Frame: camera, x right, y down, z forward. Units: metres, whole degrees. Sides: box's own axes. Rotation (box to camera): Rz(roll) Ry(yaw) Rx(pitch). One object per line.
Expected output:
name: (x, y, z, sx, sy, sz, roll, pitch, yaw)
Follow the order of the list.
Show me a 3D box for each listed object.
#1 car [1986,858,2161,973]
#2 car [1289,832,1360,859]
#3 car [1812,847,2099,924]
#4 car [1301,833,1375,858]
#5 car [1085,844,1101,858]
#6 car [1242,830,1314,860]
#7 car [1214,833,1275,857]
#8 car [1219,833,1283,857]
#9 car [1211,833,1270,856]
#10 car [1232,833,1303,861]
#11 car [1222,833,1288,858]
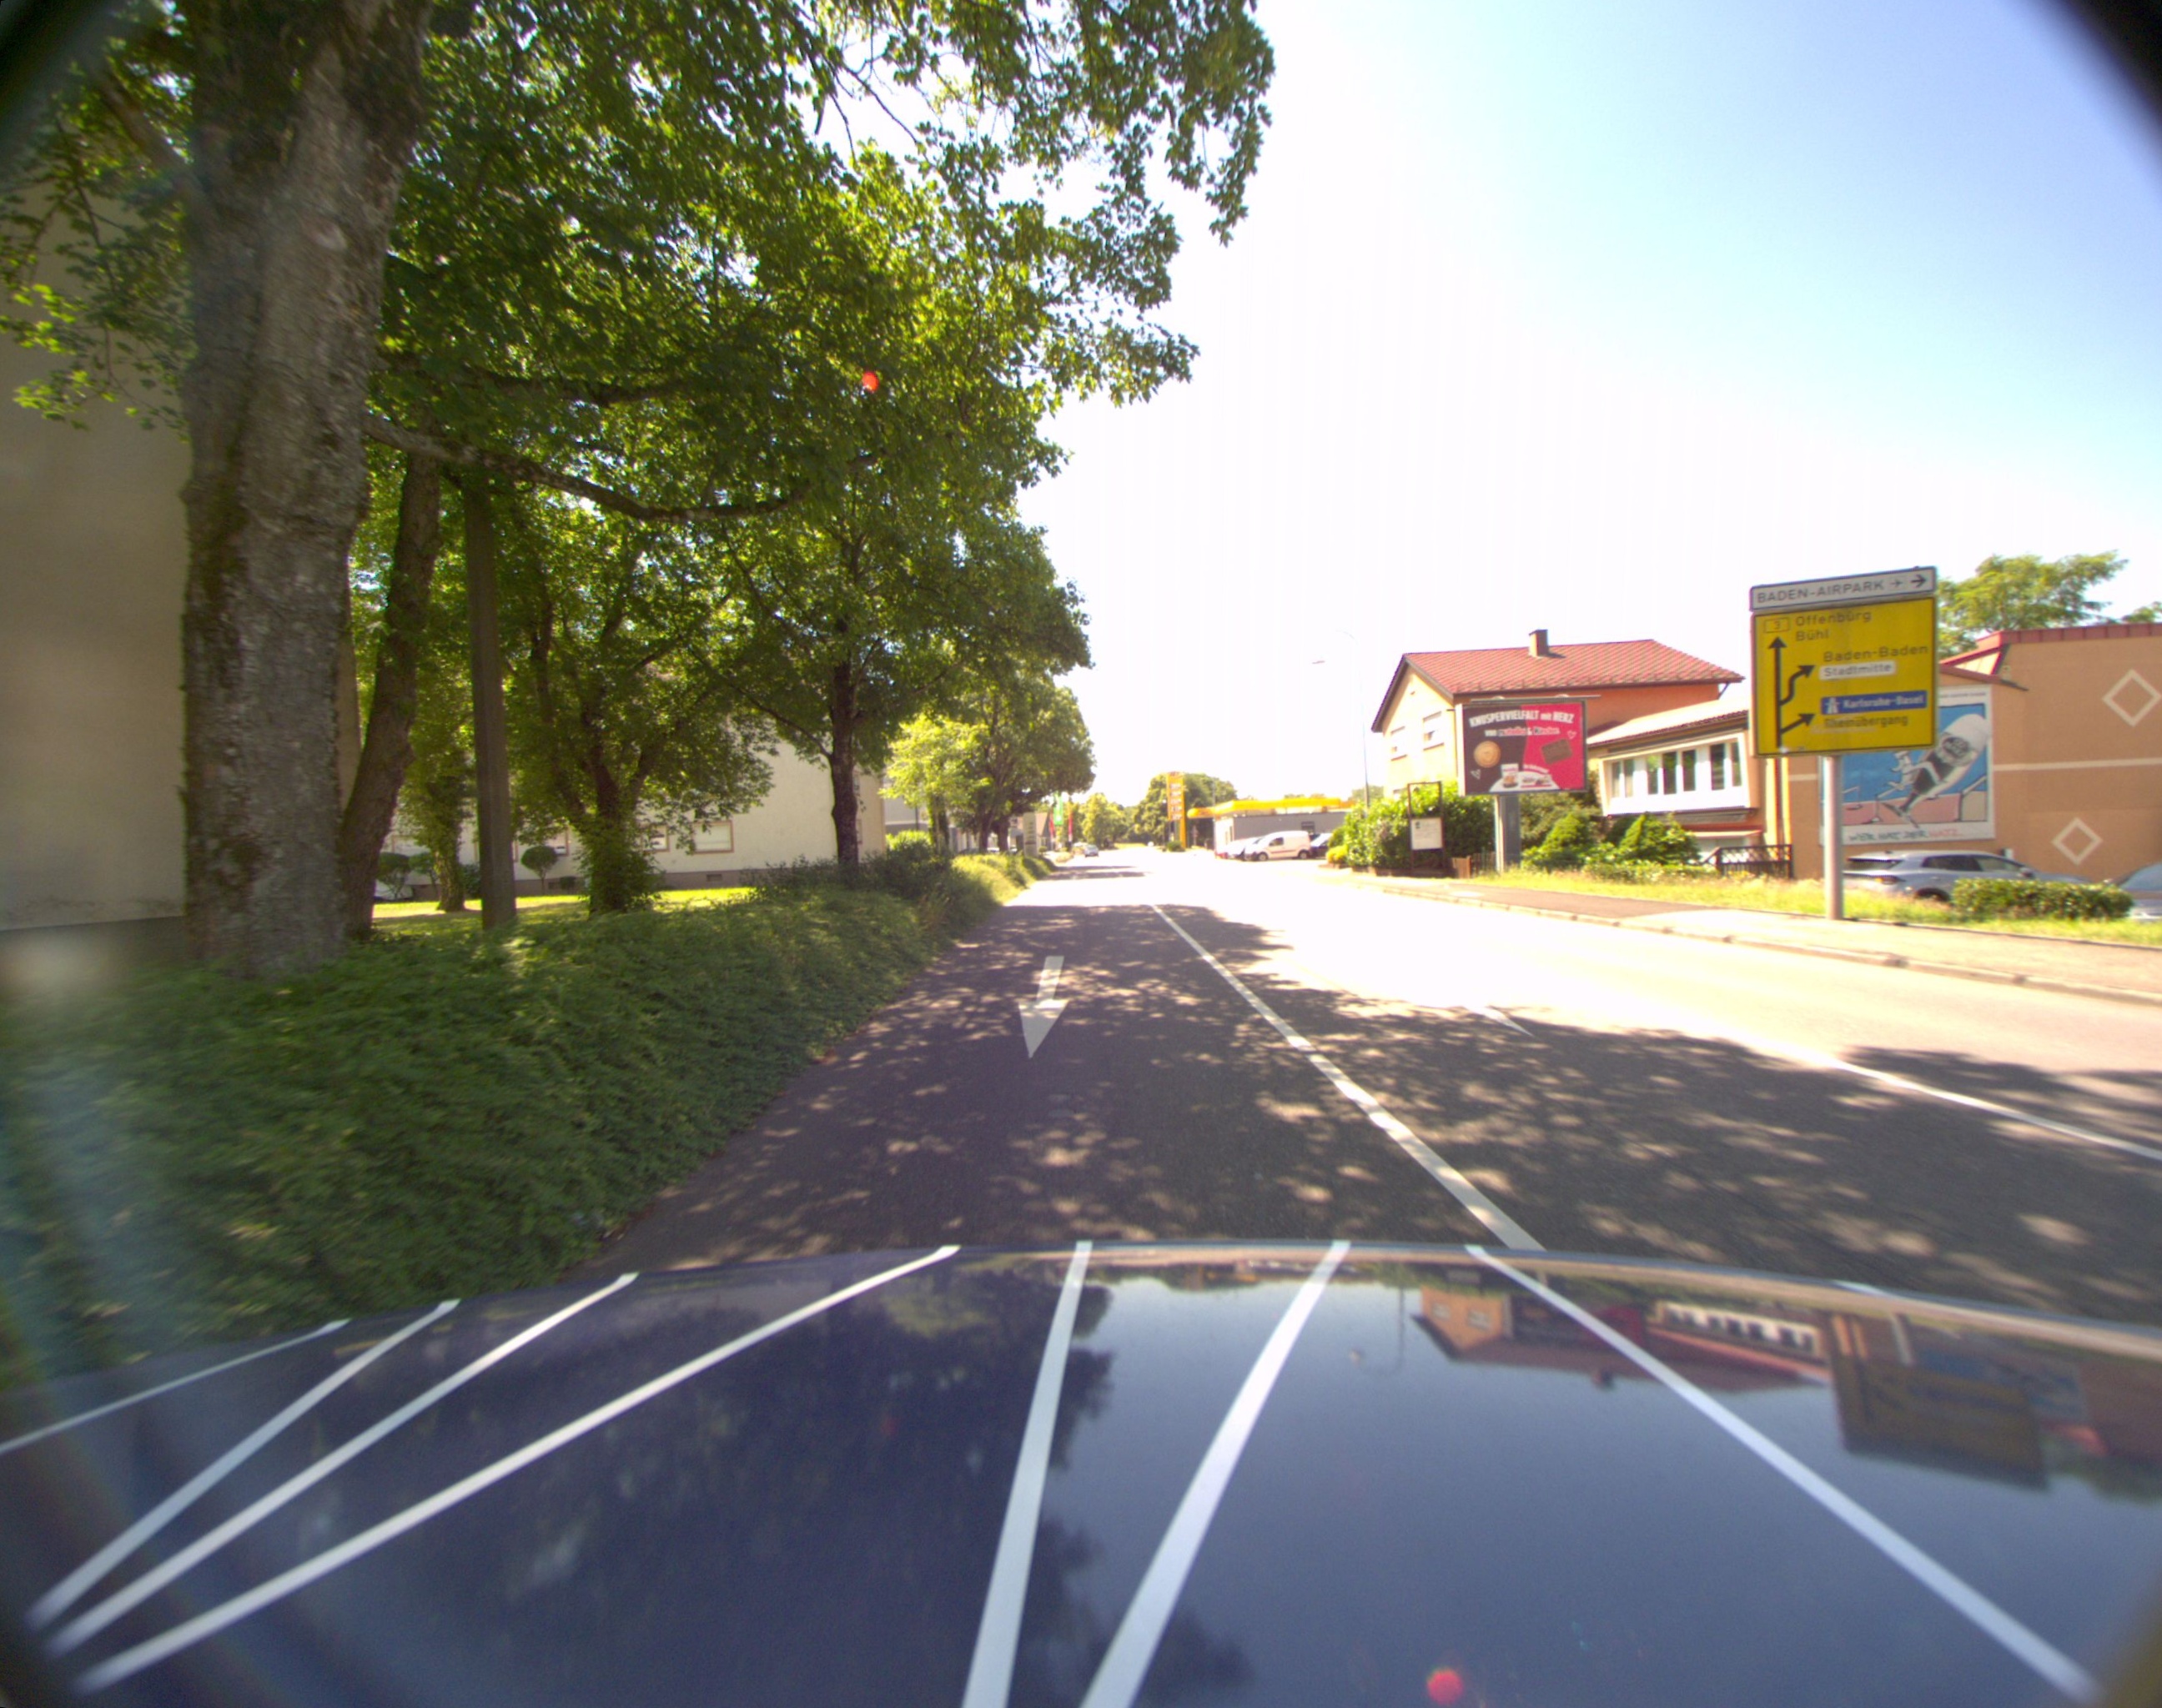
car: (17.861, 0.907, 12.042, 4.524, 1.633, 1.771, -1, 1, 7)
car: (17.250, -0.610, 53.969, 4.402, 1.815, 1.874, -2, 1, -4)
car: (20.004, 0.707, 17.577, 4.224, 1.599, 1.772, -1, 1, 8)
car: (17.437, -0.592, 51.711, 4.402, 1.555, 1.874, -2, 1, -4)
car: (1.404, -0.329, 87.721, 1.771, 1.521, 4.129, -2, 1, 1)
car: (12.851, -0.594, 49.693, 4.191, 1.858, 1.874, -2, 1, -4)
car: (13.105, -0.753, 60.922, 4.402, 1.750, 1.874, -2, 1, -4)
car: (13.084, -0.701, 58.657, 4.402, 1.750, 1.874, -2, 1, -4)
car: (13.276, -0.784, 63.327, 4.402, 1.750, 1.874, -2, 1, -4)
car: (12.685, -0.510, 51.808, 4.246, 1.750, 1.874, -2, 1, -4)
car: (12.863, -0.637, 56.345, 4.402, 1.750, 1.874, -2, 1, -4)
